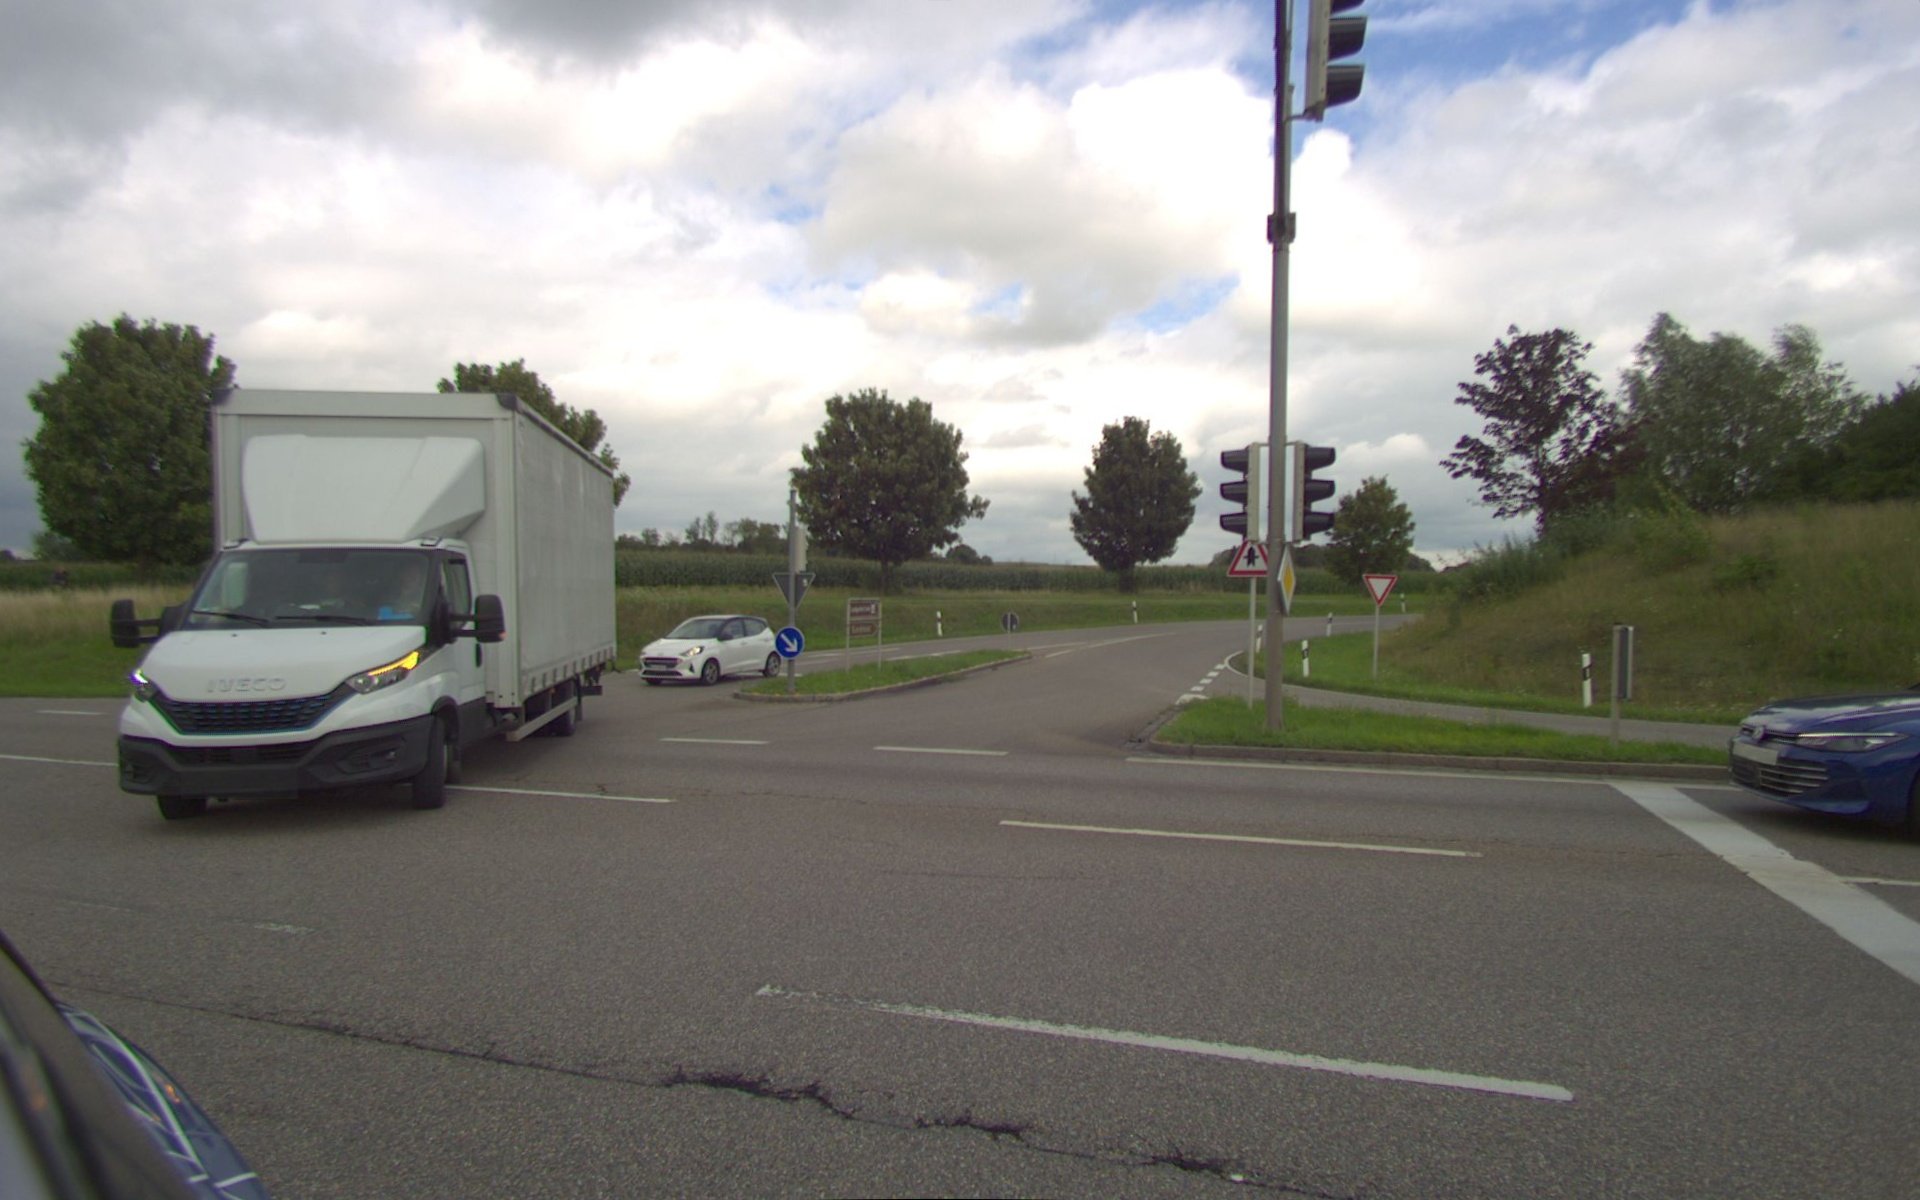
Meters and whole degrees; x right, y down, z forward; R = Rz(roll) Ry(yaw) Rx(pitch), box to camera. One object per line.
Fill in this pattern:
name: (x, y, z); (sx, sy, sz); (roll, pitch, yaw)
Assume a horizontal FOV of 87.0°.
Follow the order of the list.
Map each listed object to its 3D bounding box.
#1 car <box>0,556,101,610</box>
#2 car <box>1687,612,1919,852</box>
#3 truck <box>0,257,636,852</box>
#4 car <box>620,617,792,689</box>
car: (-36.427, -0.643, 39.787); (3.957, 2.029, 1.993); (-1, 1, 11)
car: (8.384, 0.850, 6.932); (5.081, 1.546, 2.041); (0, -1, 16)
truck: (-5.717, -0.207, 10.953); (2.794, 3.792, 8.815); (0, -1, -8)
car: (-5.696, 1.130, 23.165); (1.799, 1.463, 3.969); (-1, -1, 23)
